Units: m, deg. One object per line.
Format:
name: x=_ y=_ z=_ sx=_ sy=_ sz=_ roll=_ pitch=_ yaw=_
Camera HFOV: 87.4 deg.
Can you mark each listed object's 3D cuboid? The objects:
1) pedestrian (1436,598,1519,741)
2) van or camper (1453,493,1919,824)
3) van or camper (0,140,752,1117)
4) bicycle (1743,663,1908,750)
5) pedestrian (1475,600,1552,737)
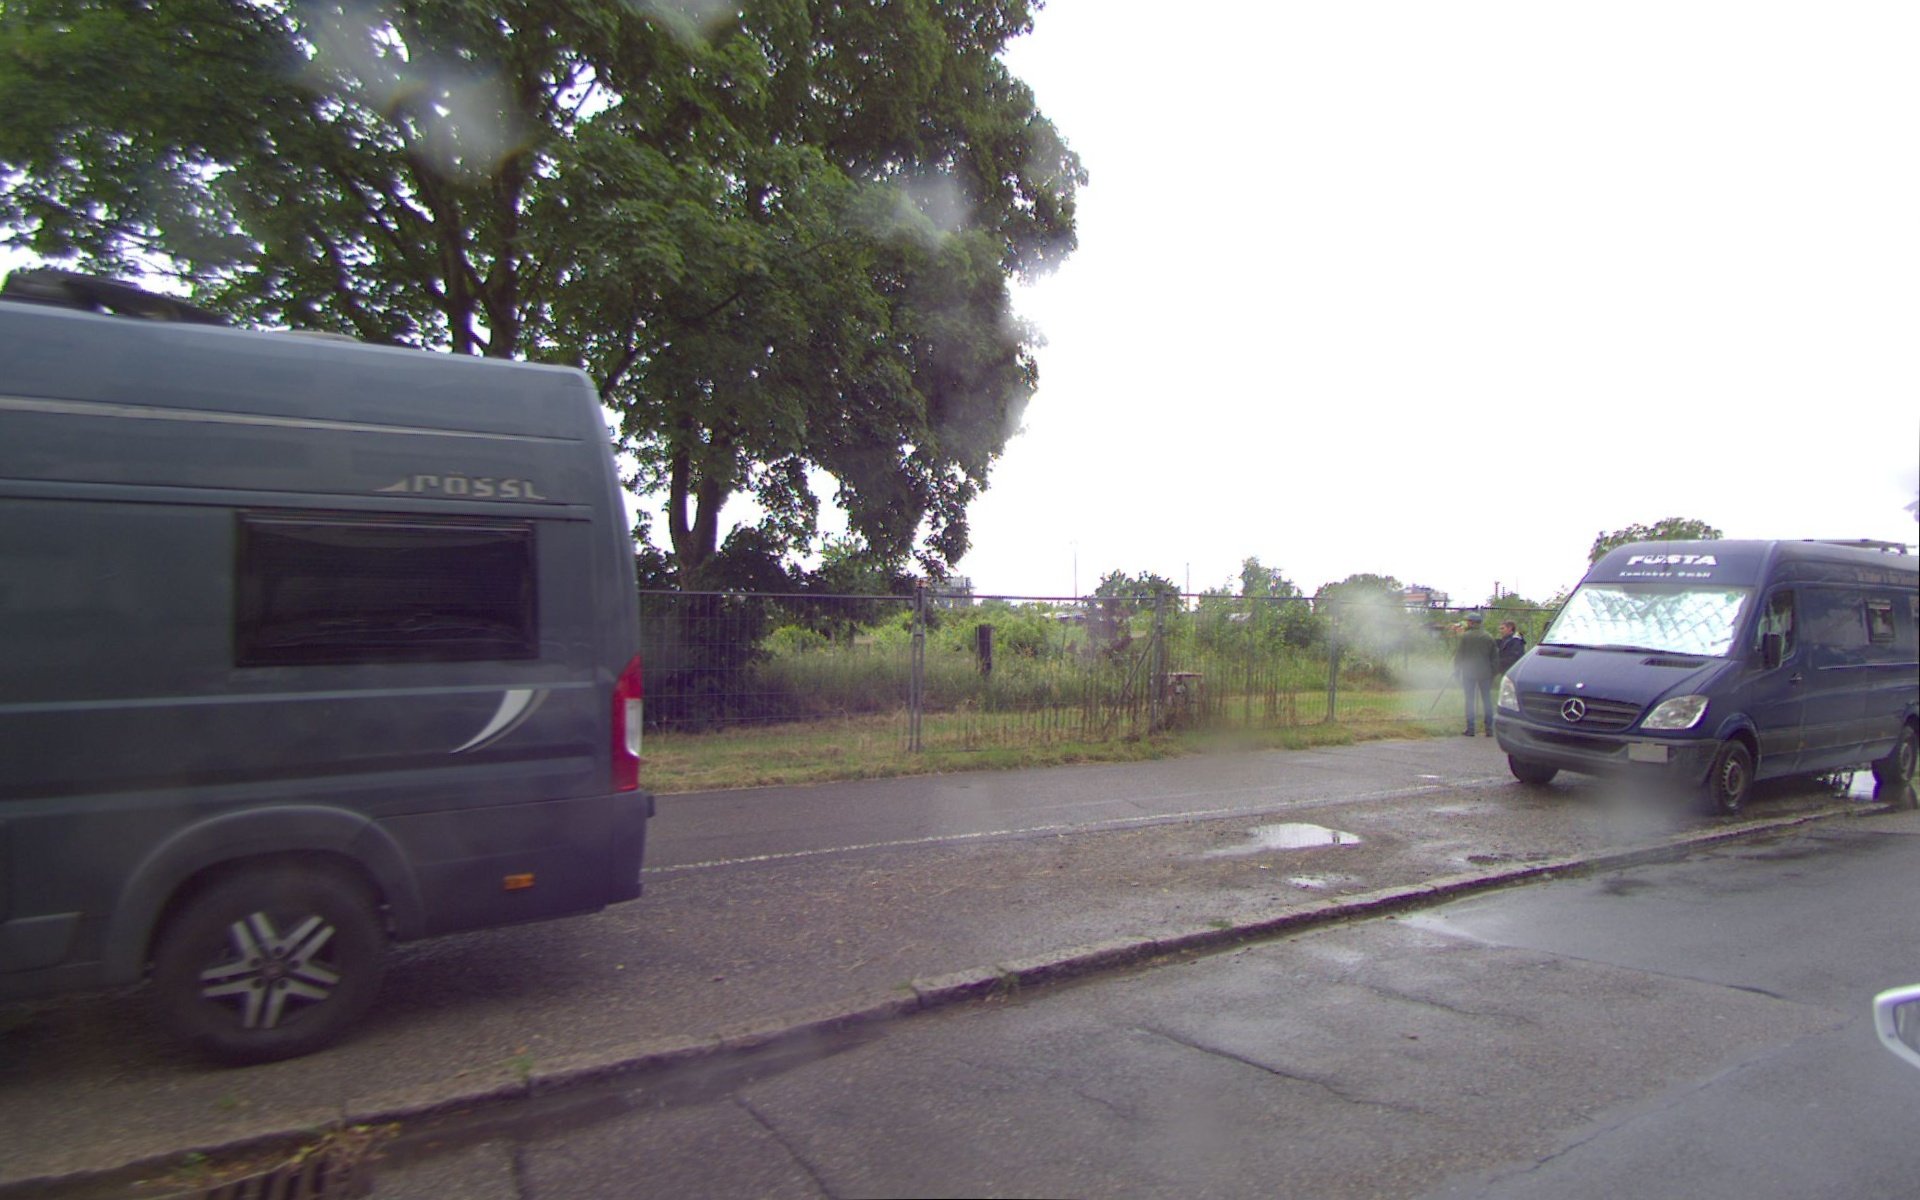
pedestrian: x=7.699 y=1.013 z=14.951 sx=0.890 sy=2.040 sz=0.734 roll=1 pitch=-2 yaw=-30
van or camper: x=8.731 y=0.614 z=11.232 sx=7.489 sy=2.751 sz=2.084 roll=2 pitch=-1 yaw=-32
van or camper: x=-4.210 y=0.074 z=3.762 sx=6.350 sy=3.135 sz=2.084 roll=2 pitch=-1 yaw=-31
bicycle: x=13.051 y=1.577 z=15.135 sx=2.640 sy=1.165 sz=0.694 roll=0 pitch=-1 yaw=-20
pedestrian: x=8.562 y=1.045 z=15.556 sx=0.843 sy=2.040 sz=0.716 roll=1 pitch=-2 yaw=-30
